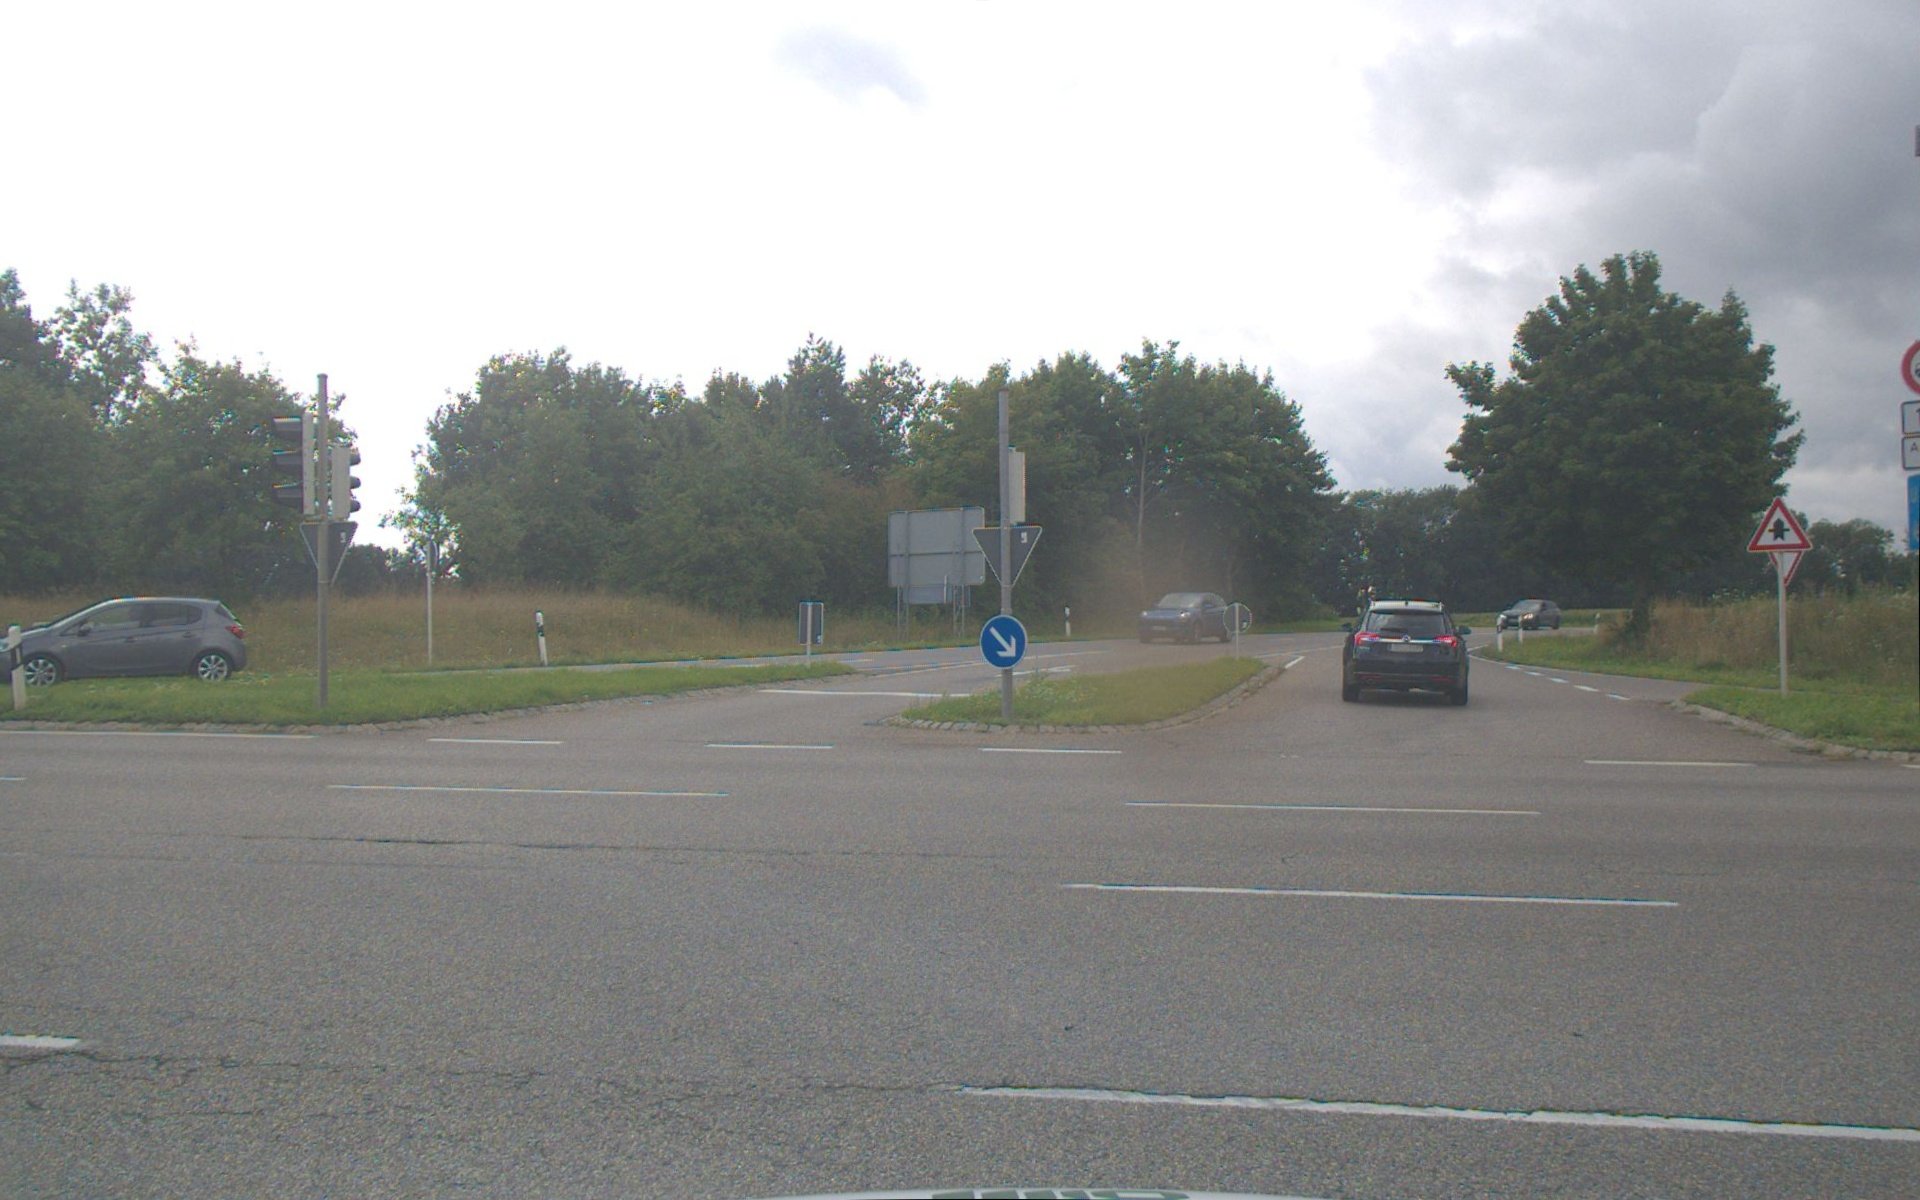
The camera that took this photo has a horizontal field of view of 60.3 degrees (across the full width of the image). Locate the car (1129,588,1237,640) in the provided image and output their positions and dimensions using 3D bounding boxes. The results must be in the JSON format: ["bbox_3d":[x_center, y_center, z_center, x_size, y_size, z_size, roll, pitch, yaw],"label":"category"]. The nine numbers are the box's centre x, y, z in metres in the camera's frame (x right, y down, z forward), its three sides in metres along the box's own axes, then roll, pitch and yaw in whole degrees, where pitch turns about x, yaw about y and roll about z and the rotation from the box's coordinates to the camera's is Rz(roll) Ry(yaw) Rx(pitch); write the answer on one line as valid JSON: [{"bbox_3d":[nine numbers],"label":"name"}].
[{"bbox_3d":[7.171,0.447,52.824,1.955,1.598,4.750,0,-1,28],"label":"car"}]

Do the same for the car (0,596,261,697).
[{"bbox_3d":[-13.872,0.767,27.402,3.951,1.562,1.977,1,-2,-34],"label":"car"}]

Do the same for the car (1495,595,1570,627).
[{"bbox_3d":[28.739,0.559,82.946,1.964,1.529,4.641,0,-1,41],"label":"car"}]

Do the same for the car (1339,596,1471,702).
[{"bbox_3d":[6.721,0.726,25.244,1.769,1.476,4.276,0,-1,13],"label":"car"}]
